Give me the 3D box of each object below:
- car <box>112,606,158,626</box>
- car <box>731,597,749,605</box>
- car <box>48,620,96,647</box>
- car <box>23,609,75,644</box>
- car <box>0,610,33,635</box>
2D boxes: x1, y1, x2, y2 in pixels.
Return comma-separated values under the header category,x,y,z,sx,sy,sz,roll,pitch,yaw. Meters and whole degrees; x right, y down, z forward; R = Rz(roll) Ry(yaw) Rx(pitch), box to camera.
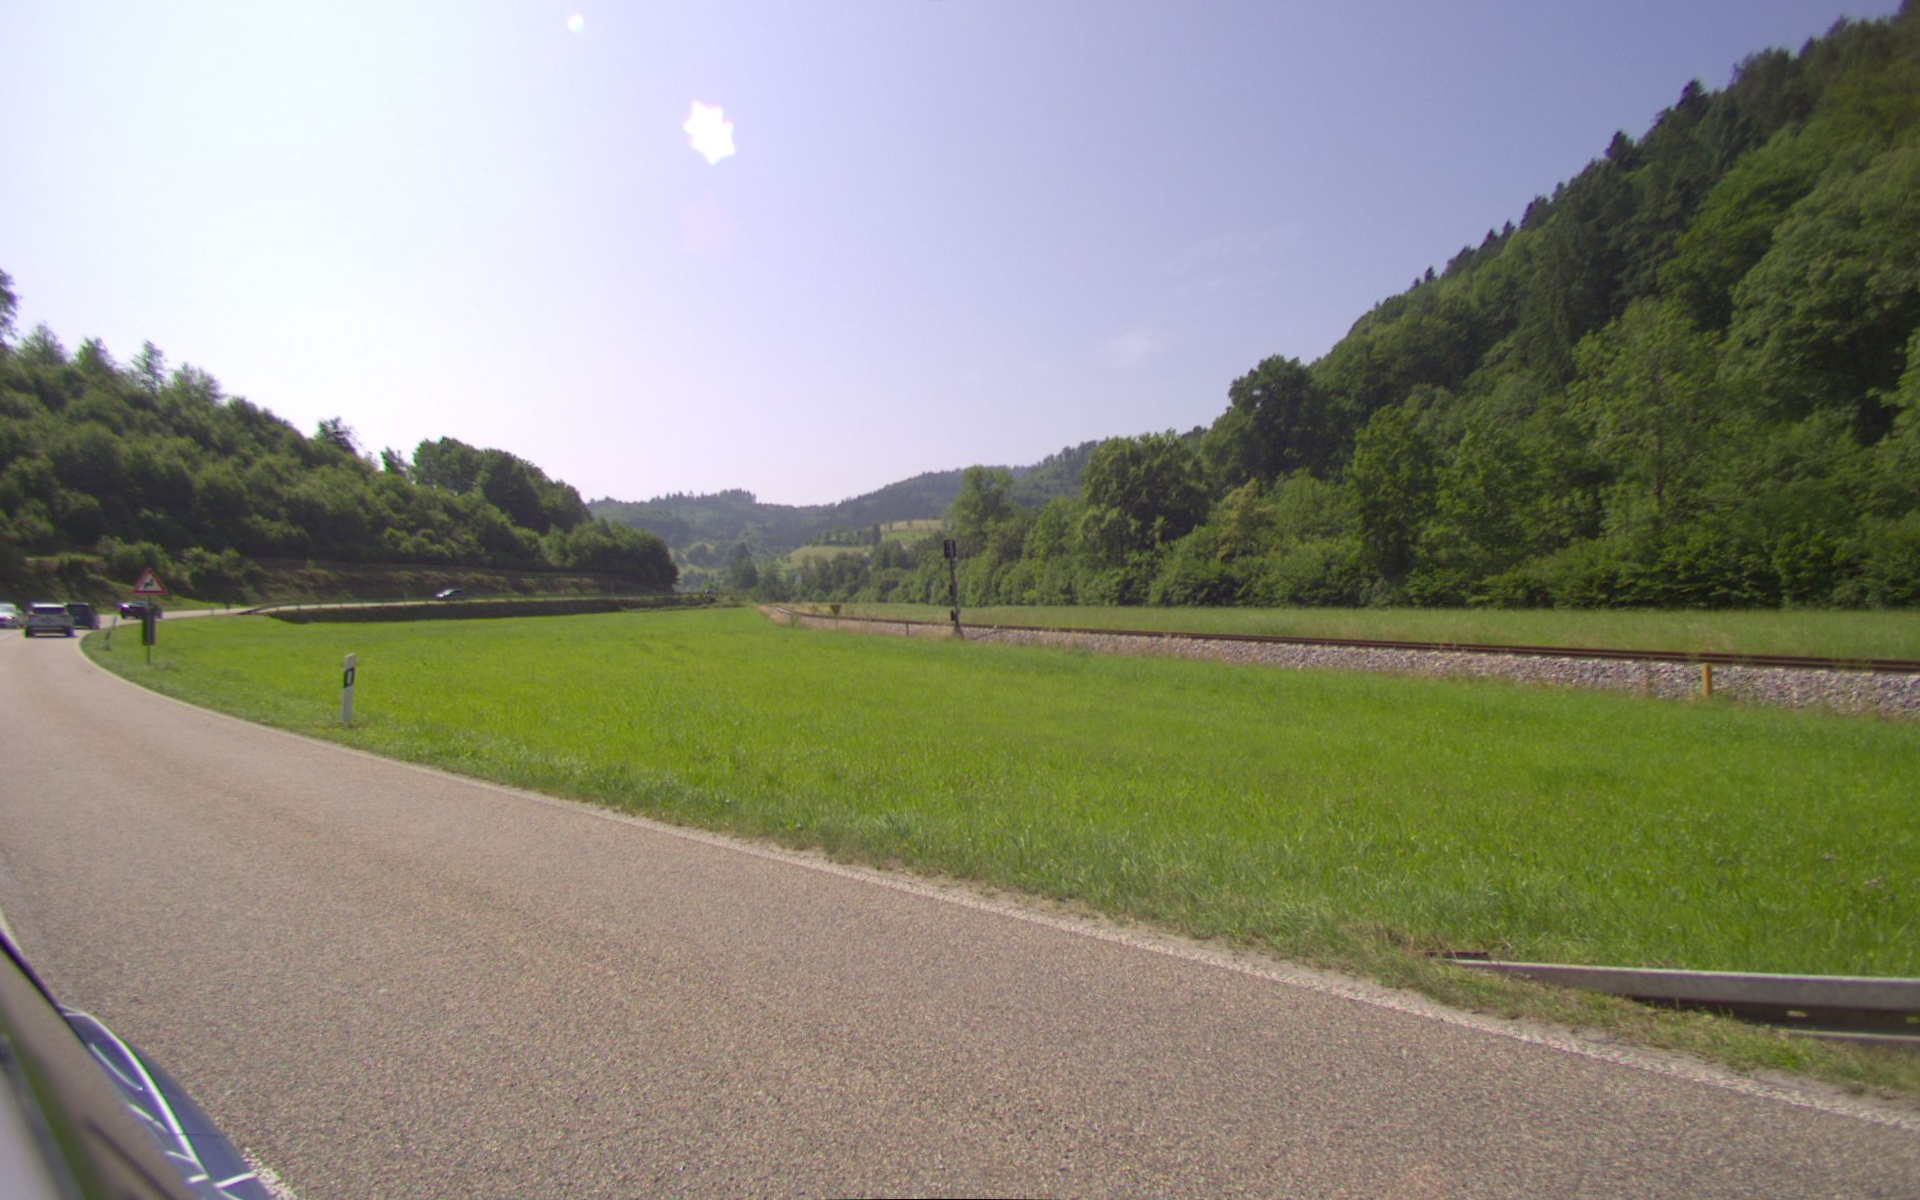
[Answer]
category,x,y,z,sx,sy,sz,roll,pitch,yaw
car,-68.145,1.295,83.654,1.889,1.482,4.525,2,0,-25
car,-49.370,0.155,226.765,1.937,1.753,4.873,0,-1,15
car,-56.207,2.112,64.137,1.841,1.636,4.521,0,-1,-36
car,-46.601,1.334,51.826,1.891,1.727,4.165,0,-1,-41
car,-58.275,1.374,61.532,2.112,1.502,4.684,2,-3,-34
